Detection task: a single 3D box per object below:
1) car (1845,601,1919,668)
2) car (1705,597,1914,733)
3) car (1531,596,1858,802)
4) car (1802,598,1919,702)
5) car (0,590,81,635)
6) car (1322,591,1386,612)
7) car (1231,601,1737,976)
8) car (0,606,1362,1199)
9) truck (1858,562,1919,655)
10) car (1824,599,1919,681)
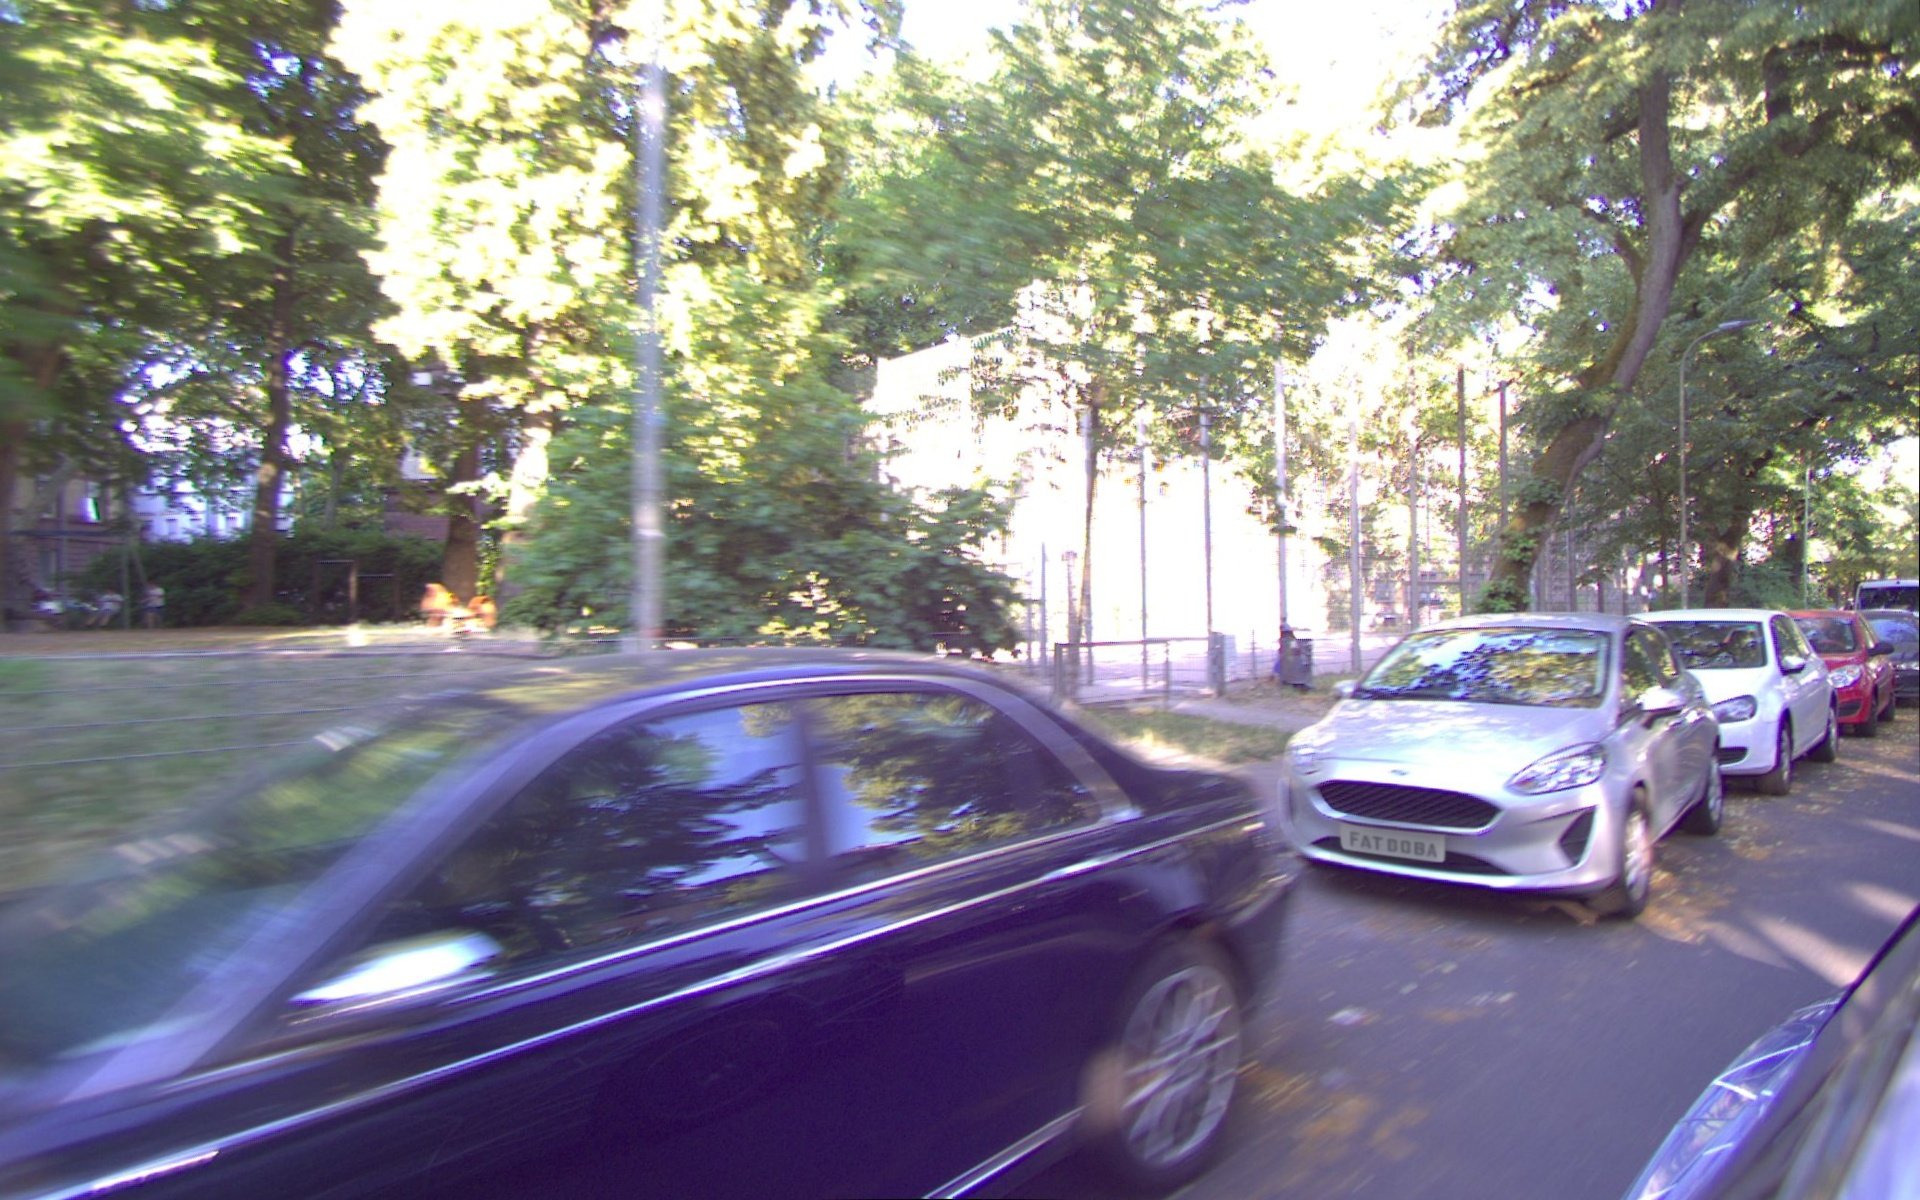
[{"bbox_3d":[21.819,0.747,23.364,4.226,1.415,1.674,0,-1,-43],"label":"car"},{"bbox_3d":[10.790,0.714,12.776,3.495,1.472,1.592,0,-1,-43],"label":"car"},{"bbox_3d":[6.866,0.720,9.297,4.007,1.472,1.682,0,-1,-43],"label":"car"},{"bbox_3d":[14.844,0.720,16.209,3.884,1.472,1.673,0,-1,-44],"label":"car"},{"bbox_3d":[-36.391,0.458,38.745,1.700,1.653,4.502,1,0,-3],"label":"car"},{"bbox_3d":[28.121,0.109,72.339,3.939,1.427,1.794,1,1,12],"label":"car"},{"bbox_3d":[3.374,0.761,6.092,1.680,1.472,4.013,-1,-1,43],"label":"car"},{"bbox_3d":[-0.996,0.760,2.285,4.579,1.442,1.682,0,-1,-42],"label":"car"},{"bbox_3d":[27.468,0.205,28.911,2.296,2.416,6.821,-1,-1,45],"label":"truck"},{"bbox_3d":[18.397,0.731,19.973,3.884,1.472,1.673,0,-1,-44],"label":"car"}]
